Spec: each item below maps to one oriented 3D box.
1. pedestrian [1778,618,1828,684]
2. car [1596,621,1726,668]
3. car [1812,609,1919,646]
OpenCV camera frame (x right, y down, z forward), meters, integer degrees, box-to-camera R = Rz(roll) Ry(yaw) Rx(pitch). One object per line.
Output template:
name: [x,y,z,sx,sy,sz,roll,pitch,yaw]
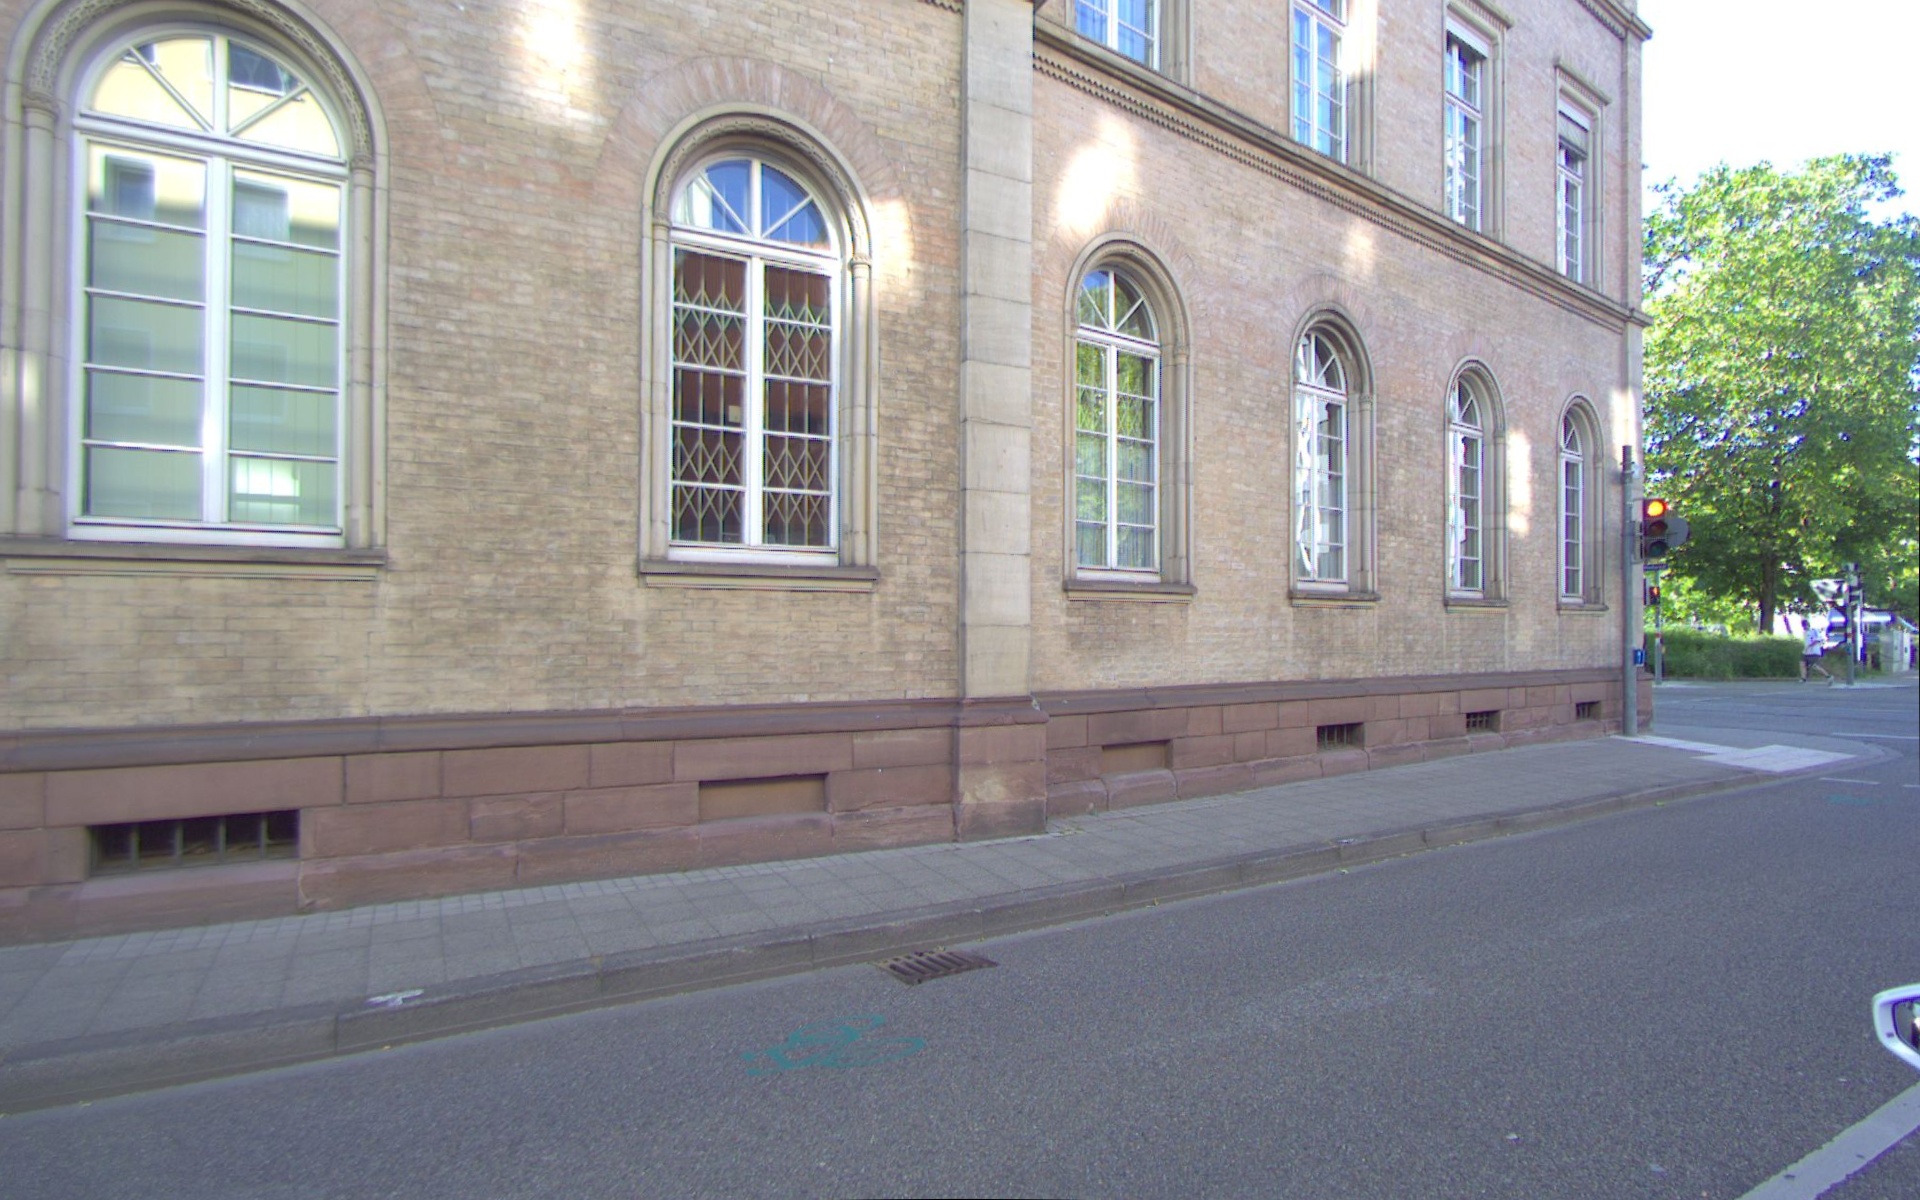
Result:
pedestrian: [24.808,1.481,29.573,0.899,1.893,0.742,2,0,19]
car: [24.383,1.518,35.028,1.636,1.476,3.382,2,0,-39]
car: [53.502,1.602,59.392,1.983,2.040,4.409,2,0,-38]
